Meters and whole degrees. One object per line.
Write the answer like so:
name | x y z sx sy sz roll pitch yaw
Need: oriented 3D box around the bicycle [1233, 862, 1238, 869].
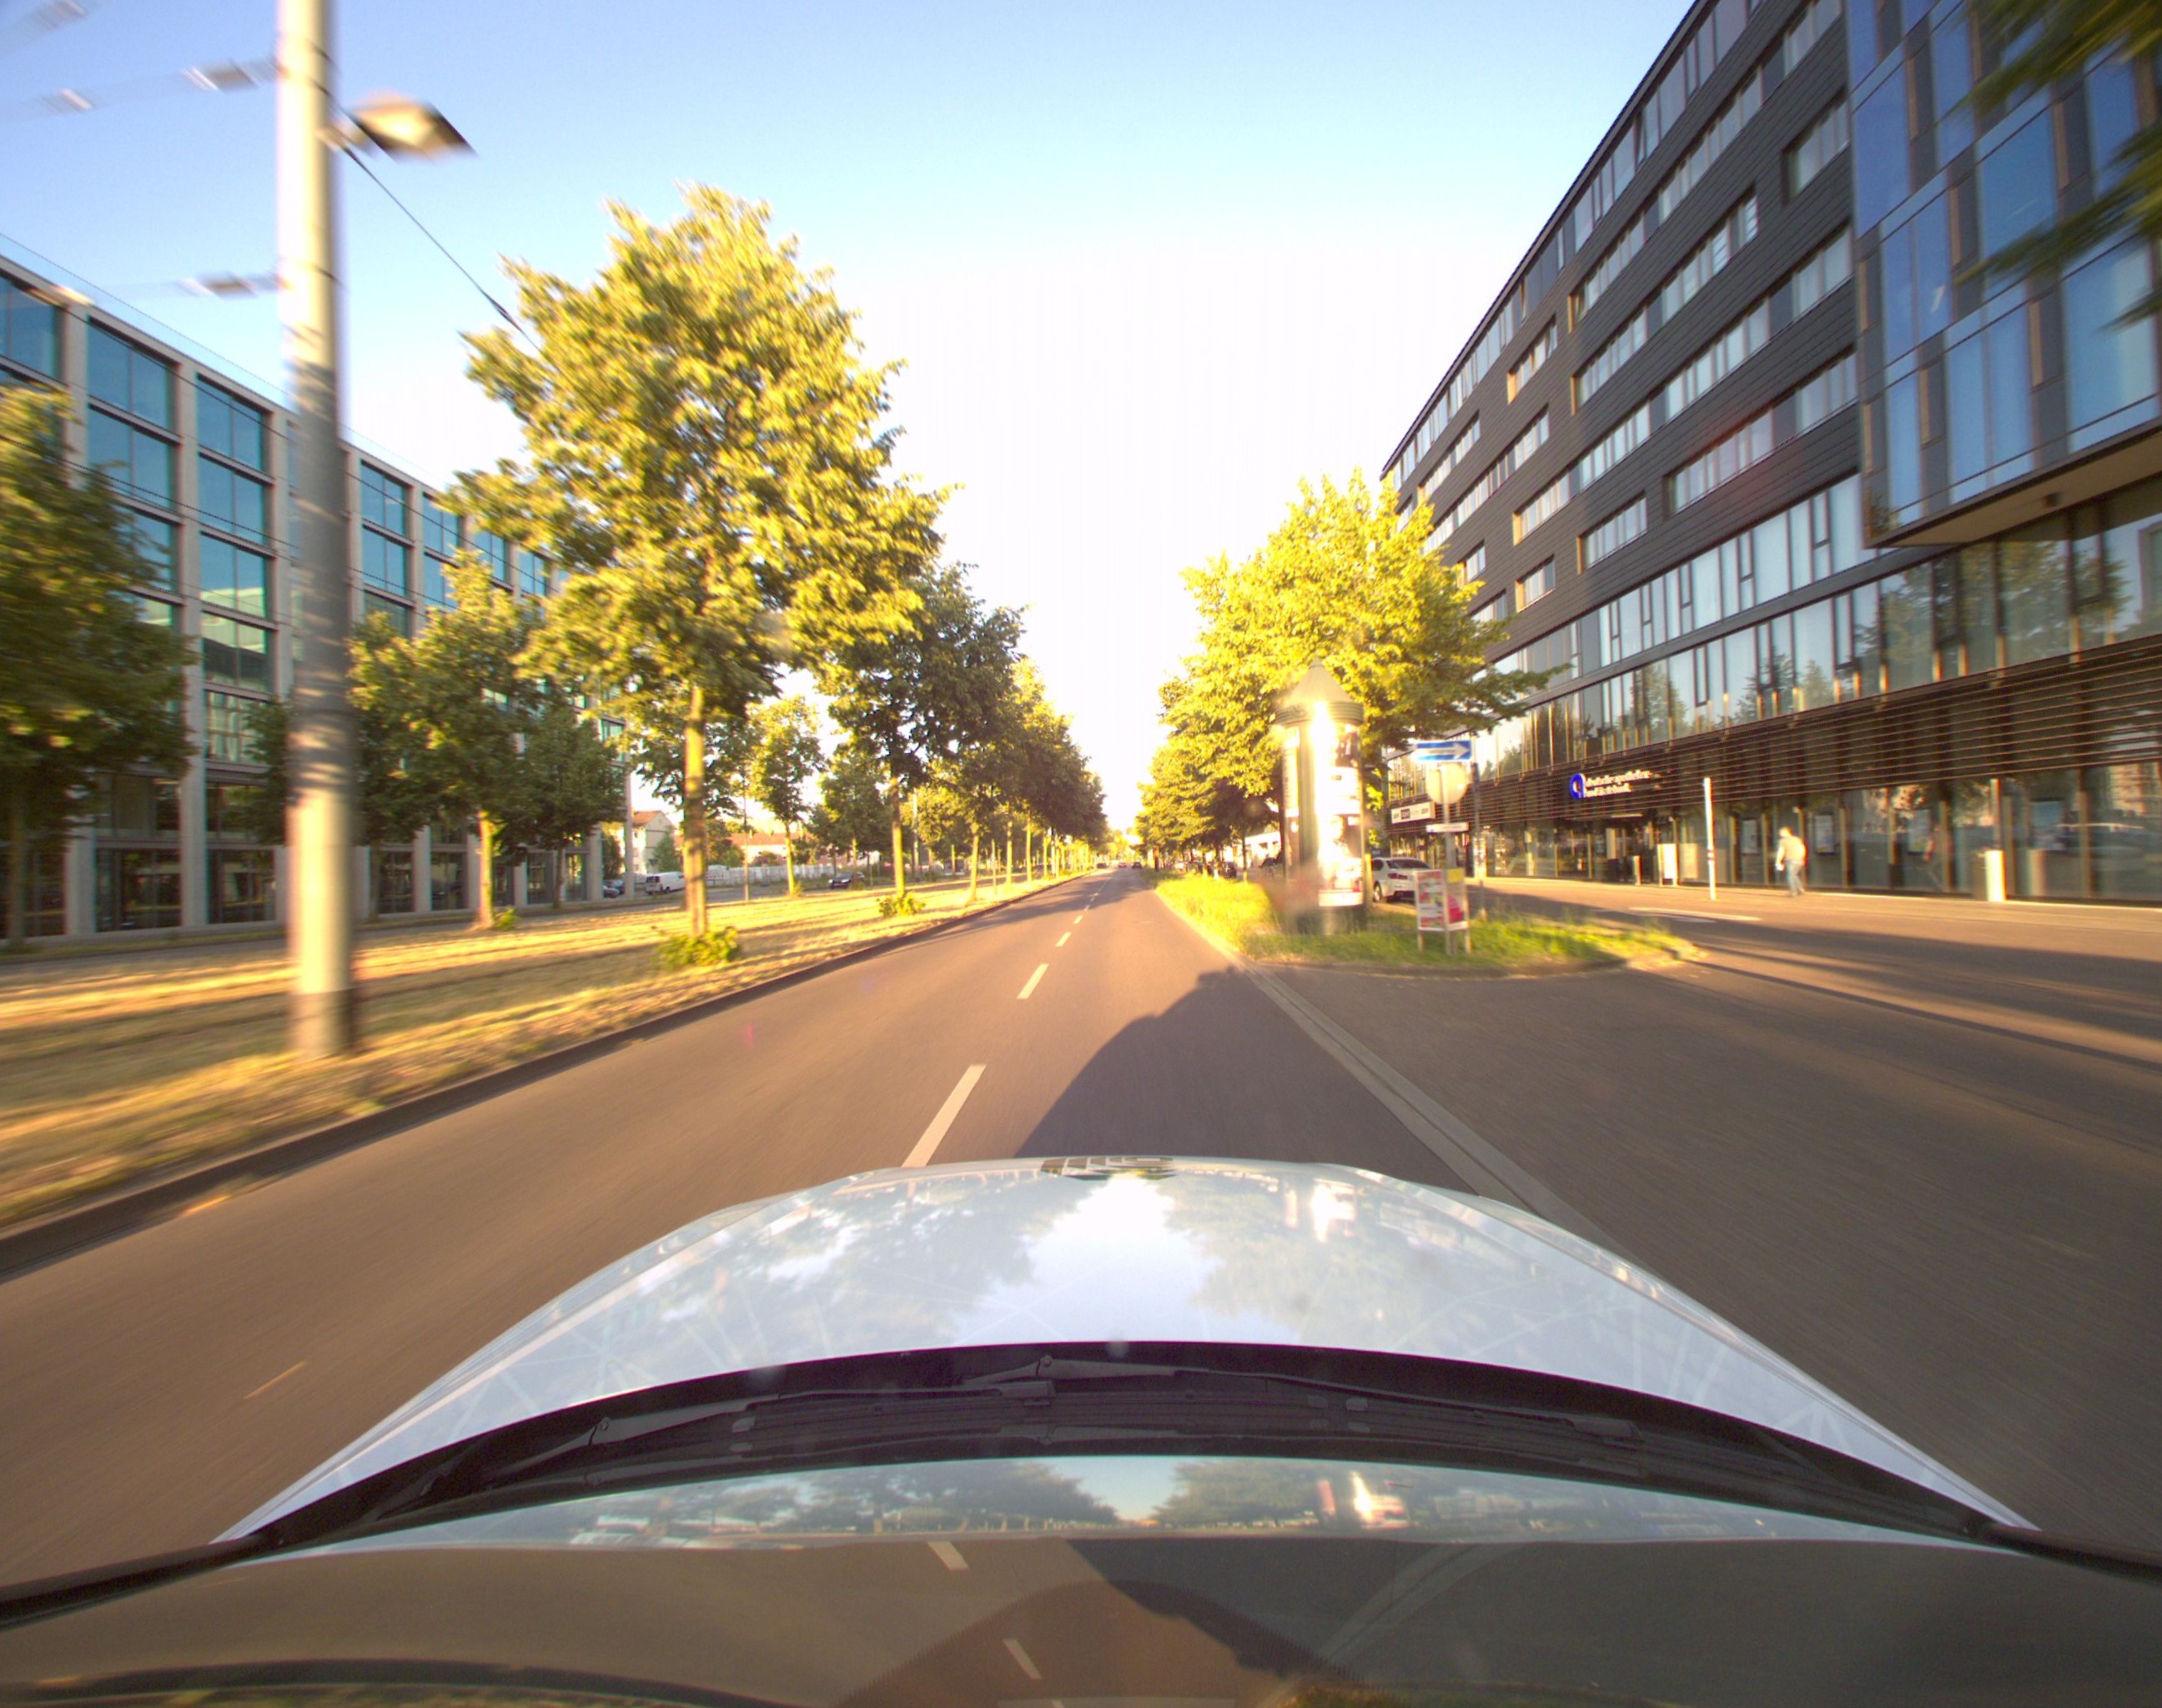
bicycle | 22.298 1.703 117.880 0.468 1.039 1.808 -2 -1 4

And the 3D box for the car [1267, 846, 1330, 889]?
car | 10.830 0.649 40.885 1.978 1.989 4.935 -1 -1 2

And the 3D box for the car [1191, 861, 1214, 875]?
car | 13.429 1.544 90.366 1.846 1.367 4.834 -2 -1 1

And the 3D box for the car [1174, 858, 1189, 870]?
car | 15.452 1.527 125.028 1.985 1.642 4.883 -2 -1 4

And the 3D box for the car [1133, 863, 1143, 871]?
car | 11.241 2.598 160.385 1.904 1.486 4.002 -1 -1 2

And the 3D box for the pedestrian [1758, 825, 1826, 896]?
pedestrian | 18.499 0.166 21.214 0.893 1.797 0.913 -2 -1 1

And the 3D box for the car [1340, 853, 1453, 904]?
car | 10.359 0.771 27.194 1.910 1.496 5.042 -1 -1 1

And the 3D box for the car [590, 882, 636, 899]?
car | -46.133 3.587 80.367 1.985 1.418 4.003 -2 -1 3

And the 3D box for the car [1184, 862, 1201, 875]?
car | 13.765 1.813 100.505 1.703 1.515 3.760 0 -1 2

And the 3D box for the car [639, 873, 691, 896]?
car | -40.629 2.946 79.762 2.197 2.014 5.088 -2 -1 3

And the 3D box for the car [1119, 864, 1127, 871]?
car | 10.564 3.412 205.071 1.904 1.486 4.002 -2 -1 2

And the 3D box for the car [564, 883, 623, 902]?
car | -42.038 3.283 70.216 3.967 1.446 1.897 -2 -1 5

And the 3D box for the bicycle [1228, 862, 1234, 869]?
bicycle | 21.749 1.707 118.176 0.592 1.039 1.894 -2 -1 4

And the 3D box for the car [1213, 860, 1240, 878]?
car | 12.444 1.252 69.870 1.773 1.494 4.003 1 0 3

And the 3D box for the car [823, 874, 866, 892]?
car | -20.372 2.487 70.300 1.921 1.422 4.396 -2 -1 6

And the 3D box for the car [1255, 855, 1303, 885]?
car | 11.162 0.900 46.145 1.832 1.571 4.063 -1 -1 2

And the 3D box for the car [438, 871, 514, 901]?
car | -53.198 2.811 71.635 5.452 2.467 1.977 -2 -1 6
